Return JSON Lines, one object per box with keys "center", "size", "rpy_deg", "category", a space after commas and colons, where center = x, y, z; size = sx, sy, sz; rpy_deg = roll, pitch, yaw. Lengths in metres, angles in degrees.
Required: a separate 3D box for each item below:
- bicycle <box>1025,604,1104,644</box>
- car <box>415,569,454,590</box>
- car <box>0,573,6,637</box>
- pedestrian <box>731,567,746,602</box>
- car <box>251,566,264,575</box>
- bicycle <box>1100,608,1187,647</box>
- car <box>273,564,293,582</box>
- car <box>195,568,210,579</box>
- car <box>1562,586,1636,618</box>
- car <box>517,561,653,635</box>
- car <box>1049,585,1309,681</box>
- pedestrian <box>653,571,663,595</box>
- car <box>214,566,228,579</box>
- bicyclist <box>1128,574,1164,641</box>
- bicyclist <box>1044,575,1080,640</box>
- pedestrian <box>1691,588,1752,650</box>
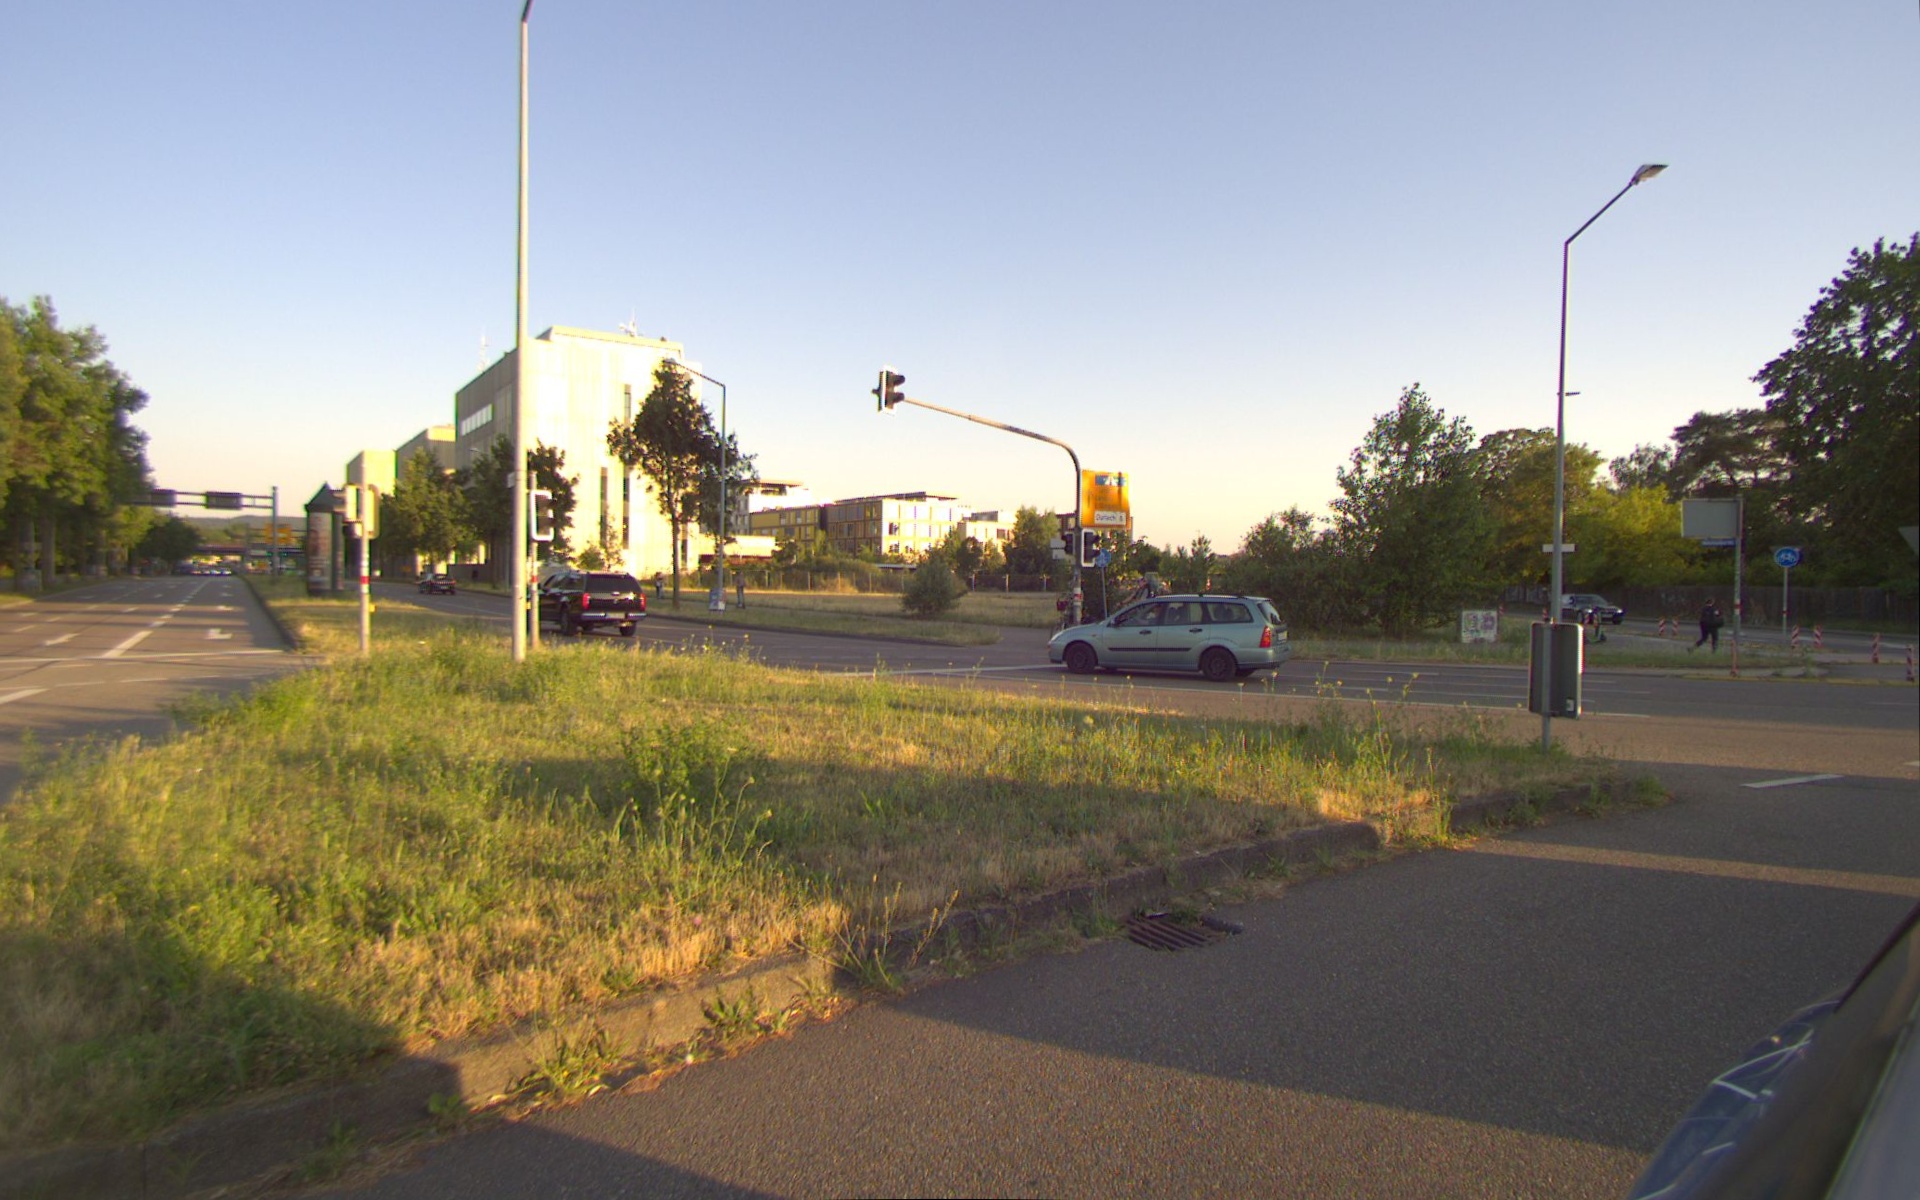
{"center": [2.847, 0.643, 27.450], "size": [2.065, 0.975, 0.711], "rpy_deg": [-2, 2, -27], "category": "bicycle"}
{"center": [-36.050, -1.384, 69.419], "size": [1.719, 1.396, 4.124], "rpy_deg": [0, 1, -37], "category": "car"}
{"center": [-22.607, 0.176, 21.906], "size": [1.961, 1.524, 4.775], "rpy_deg": [0, 1, -32], "category": "car"}
{"center": [-11.067, -0.783, 50.508], "size": [0.555, 1.705, 0.520], "rpy_deg": [0, 1, -35], "category": "pedestrian"}
{"center": [-146.350, -6.151, 210.899], "size": [1.963, 1.648, 3.998], "rpy_deg": [0, 1, -38], "category": "car"}
{"center": [4.769, 0.715, 26.336], "size": [2.100, 0.975, 0.711], "rpy_deg": [1, 1, -14], "category": "bicycle"}
{"center": [-80.807, -3.228, 120.798], "size": [1.961, 2.039, 4.002], "rpy_deg": [0, 1, -34], "category": "car"}
{"center": [-135.210, -4.697, 180.543], "size": [1.964, 1.803, 3.996], "rpy_deg": [-1, 0, -39], "category": "car"}
{"center": [32.383, 0.087, 51.424], "size": [1.971, 1.504, 3.983], "rpy_deg": [1, 1, 14], "category": "car"}
{"center": [-10.553, -0.118, 28.194], "size": [1.964, 1.835, 5.302], "rpy_deg": [1, 1, -39], "category": "car"}
{"center": [3.981, 0.512, 18.542], "size": [4.277, 1.510, 1.978], "rpy_deg": [1, 1, 31], "category": "car"}
{"center": [-18.935, -1.070, 63.460], "size": [0.492, 1.531, 0.530], "rpy_deg": [0, 1, -35], "category": "pedestrian"}
{"center": [-126.572, -4.674, 173.330], "size": [1.963, 2.039, 3.999], "rpy_deg": [0, 0, -36], "category": "car"}
{"center": [4.841, 0.193, 26.357], "size": [0.674, 1.711, 0.727], "rpy_deg": [1, 1, -13], "category": "bicyclist"}
{"center": [2.761, 0.192, 27.432], "size": [0.675, 1.711, 0.726], "rpy_deg": [0, 1, -29], "category": "bicyclist"}
{"center": [20.620, 0.494, 27.427], "size": [0.977, 1.610, 0.923], "rpy_deg": [1, 1, 13], "category": "pedestrian"}
